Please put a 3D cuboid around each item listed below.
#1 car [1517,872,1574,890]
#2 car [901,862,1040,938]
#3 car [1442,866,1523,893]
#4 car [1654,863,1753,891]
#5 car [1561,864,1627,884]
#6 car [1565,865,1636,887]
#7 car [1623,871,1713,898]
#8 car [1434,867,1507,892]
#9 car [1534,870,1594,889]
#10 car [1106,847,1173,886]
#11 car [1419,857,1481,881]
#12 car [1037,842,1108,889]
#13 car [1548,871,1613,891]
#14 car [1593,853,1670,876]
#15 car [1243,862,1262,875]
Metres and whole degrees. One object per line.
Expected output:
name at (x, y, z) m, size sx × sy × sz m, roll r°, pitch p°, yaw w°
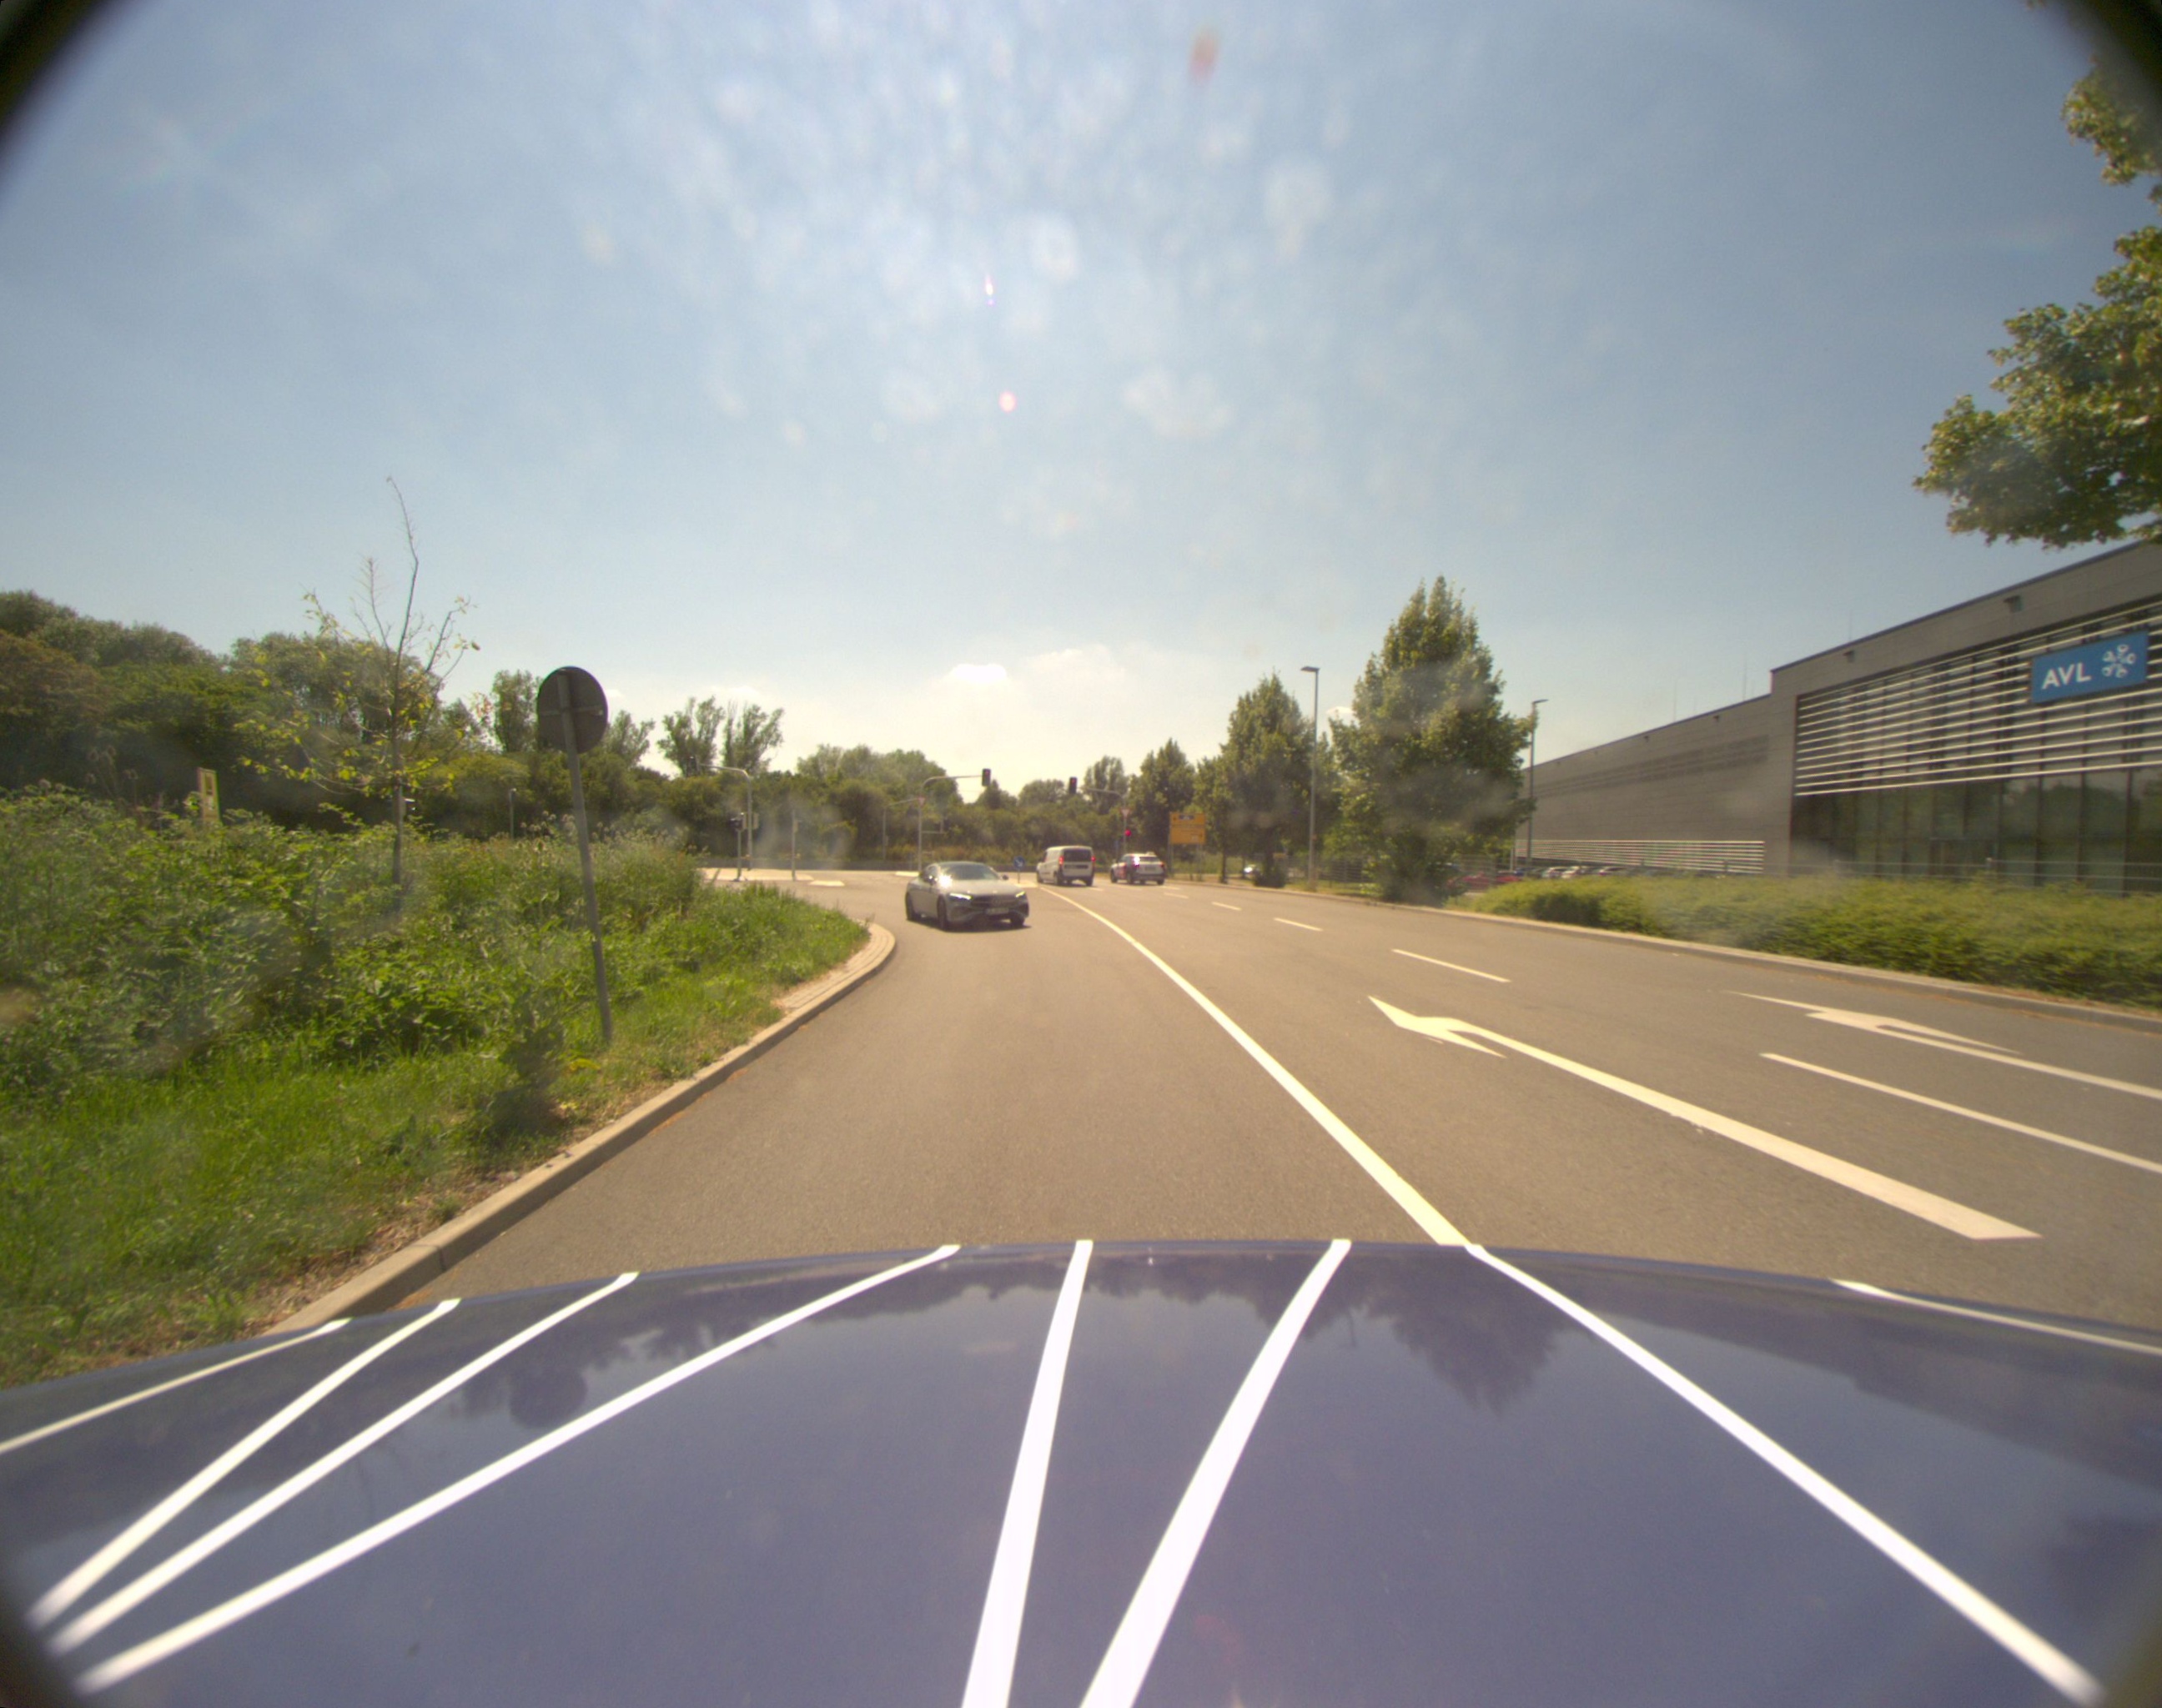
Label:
car at (42.743, 2.470, 70.036) m, size 3.993 × 1.477 × 2.002 m, roll 2°, pitch -1°, yaw 11°
car at (-2.724, 0.951, 17.731) m, size 1.925 × 1.434 × 4.472 m, roll -2°, pitch 1°, yaw -26°
car at (24.614, 1.544, 46.723) m, size 3.993 × 1.477 × 2.002 m, roll 2°, pitch -1°, yaw 11°
car at (36.607, 1.343, 44.788) m, size 3.993 × 1.477 × 2.002 m, roll 2°, pitch -1°, yaw 11°
car at (41.003, 1.581, 60.826) m, size 3.993 × 1.451 × 1.774 m, roll 2°, pitch -1°, yaw 11°
car at (39.712, 1.670, 58.158) m, size 3.993 × 1.477 × 2.002 m, roll 2°, pitch -1°, yaw 11°
car at (36.887, 1.908, 47.847) m, size 3.993 × 1.477 × 2.002 m, roll 2°, pitch -1°, yaw 11°
car at (26.512, 1.743, 51.879) m, size 3.993 × 1.477 × 2.002 m, roll 2°, pitch -1°, yaw 11°
car at (42.729, 2.243, 67.340) m, size 3.993 × 1.477 × 2.002 m, roll 2°, pitch -1°, yaw 11°
car at (2.858, 0.567, 37.915) m, size 2.001 × 1.698 × 3.857 m, roll -3°, pitch 3°, yaw -18°
car at (29.141, 1.173, 60.171) m, size 3.993 × 1.695 × 2.002 m, roll 2°, pitch -1°, yaw 11°
car at (-0.486, 0.493, 36.398) m, size 2.001 × 1.932 × 4.862 m, roll -3°, pitch 3°, yaw -18°
car at (41.471, 2.259, 63.198) m, size 3.993 × 1.477 × 2.002 m, roll 2°, pitch -1°, yaw 11°
car at (39.433, 0.790, 54.547) m, size 3.993 × 1.507 × 1.922 m, roll -1°, pitch -2°, yaw 11°
car at (27.117, 2.313, 119.891) m, size 1.994 × 1.772 × 4.009 m, roll 2°, pitch -1°, yaw 27°
